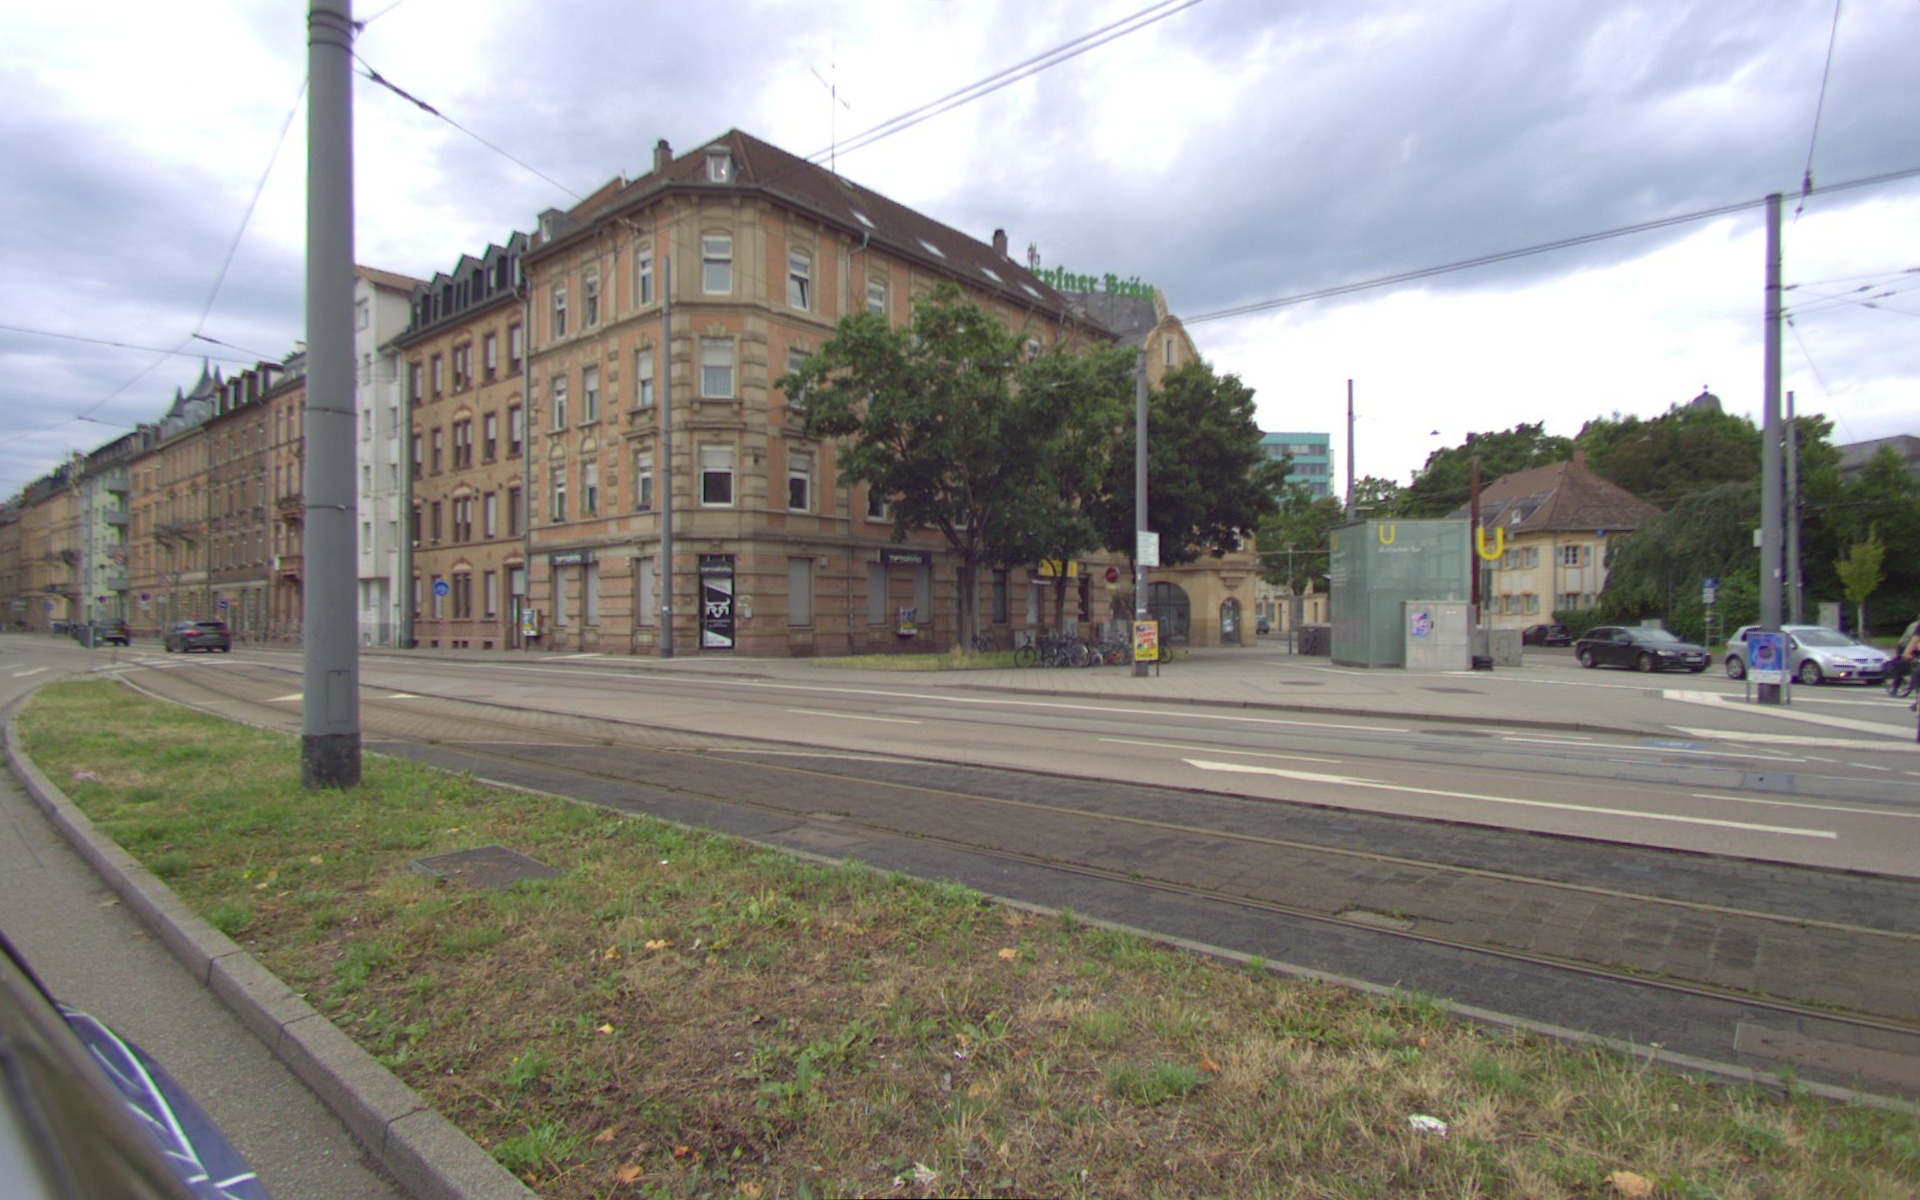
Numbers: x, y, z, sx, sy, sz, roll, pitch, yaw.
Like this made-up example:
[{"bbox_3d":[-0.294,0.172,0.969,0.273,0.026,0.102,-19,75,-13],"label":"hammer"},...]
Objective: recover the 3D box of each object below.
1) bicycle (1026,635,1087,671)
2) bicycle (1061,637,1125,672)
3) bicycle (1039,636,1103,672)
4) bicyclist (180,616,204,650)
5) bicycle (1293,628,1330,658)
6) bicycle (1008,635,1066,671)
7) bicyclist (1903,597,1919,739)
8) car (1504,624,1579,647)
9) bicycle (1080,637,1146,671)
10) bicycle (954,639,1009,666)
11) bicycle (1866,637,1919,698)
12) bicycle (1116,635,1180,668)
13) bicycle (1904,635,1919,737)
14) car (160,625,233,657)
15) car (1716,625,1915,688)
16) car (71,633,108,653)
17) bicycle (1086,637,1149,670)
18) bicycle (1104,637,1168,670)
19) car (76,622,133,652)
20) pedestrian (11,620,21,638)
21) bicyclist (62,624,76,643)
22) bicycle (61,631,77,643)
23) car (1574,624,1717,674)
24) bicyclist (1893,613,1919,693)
[{"bbox_3d":[2.862,1.563,30.191,0.513,0.994,2.041,0,-1,-39],"label":"bicycle"},{"bbox_3d":[4.031,1.639,30.849,0.492,0.994,2.224,0,-1,-39],"label":"bicycle"},{"bbox_3d":[3.314,1.605,30.517,0.472,1.014,2.224,0,-1,-39],"label":"bicycle"},{"bbox_3d":[-43.812,1.872,57.733,1.048,1.906,0.821,-2,-3,39],"label":"bicyclist"},{"bbox_3d":[13.931,1.705,40.135,0.730,1.123,2.361,-1,-1,3],"label":"bicycle"},{"bbox_3d":[2.246,1.546,29.764,0.492,0.994,1.872,1,-2,-41],"label":"bicycle"},{"bbox_3d":[12.778,0.857,13.060,0.816,1.812,1.015,-3,-3,43],"label":"bicyclist"},{"bbox_3d":[35.612,2.155,62.096,1.904,1.298,4.006,0,-1,-7],"label":"car"},{"bbox_3d":[4.799,1.692,31.846,0.601,0.994,2.224,0,-1,-39],"label":"bicycle"},{"bbox_3d":[0.809,1.972,38.010,1.982,0.921,0.655,-4,-5,31],"label":"bicycle"},{"bbox_3d":[19.957,1.383,20.721,0.845,1.217,2.197,0,-1,1],"label":"bicycle"},{"bbox_3d":[6.357,1.730,34.292,0.678,1.047,2.224,0,-1,-39],"label":"bicycle"},{"bbox_3d":[12.728,1.087,13.001,0.816,1.252,1.971,-3,-4,43],"label":"bicycle"},{"bbox_3d":[-34.962,1.858,46.310,4.387,1.406,1.676,-1,-2,39],"label":"car"},{"bbox_3d":[21.896,1.386,26.142,1.739,1.465,4.156,-1,-1,4],"label":"car"},{"bbox_3d":[-69.009,3.368,80.222,3.828,1.491,1.828,-1,-2,43],"label":"car"},{"bbox_3d":[5.033,1.691,32.505,0.492,0.994,2.224,0,-1,-39],"label":"bicycle"},{"bbox_3d":[5.757,1.731,33.168,0.576,0.994,2.224,0,-1,-39],"label":"bicycle"},{"bbox_3d":[-49.522,2.103,58.542,4.225,1.652,1.780,-1,-1,39],"label":"car"},{"bbox_3d":[-108.714,3.319,116.553,0.733,2.029,0.804,-1,-2,41],"label":"pedestrian"},{"bbox_3d":[-68.695,2.584,78.031,0.941,1.506,0.655,-1,-1,37],"label":"bicyclist"},{"bbox_3d":[-68.711,2.867,78.060,1.716,0.922,0.600,-1,-1,37],"label":"bicycle"},{"bbox_3d":[21.795,1.523,32.388,1.673,1.460,4.144,-1,-1,-1],"label":"car"},{"bbox_3d":[19.962,1.085,20.723,0.843,1.635,0.917,0,-2,1],"label":"bicyclist"}]
